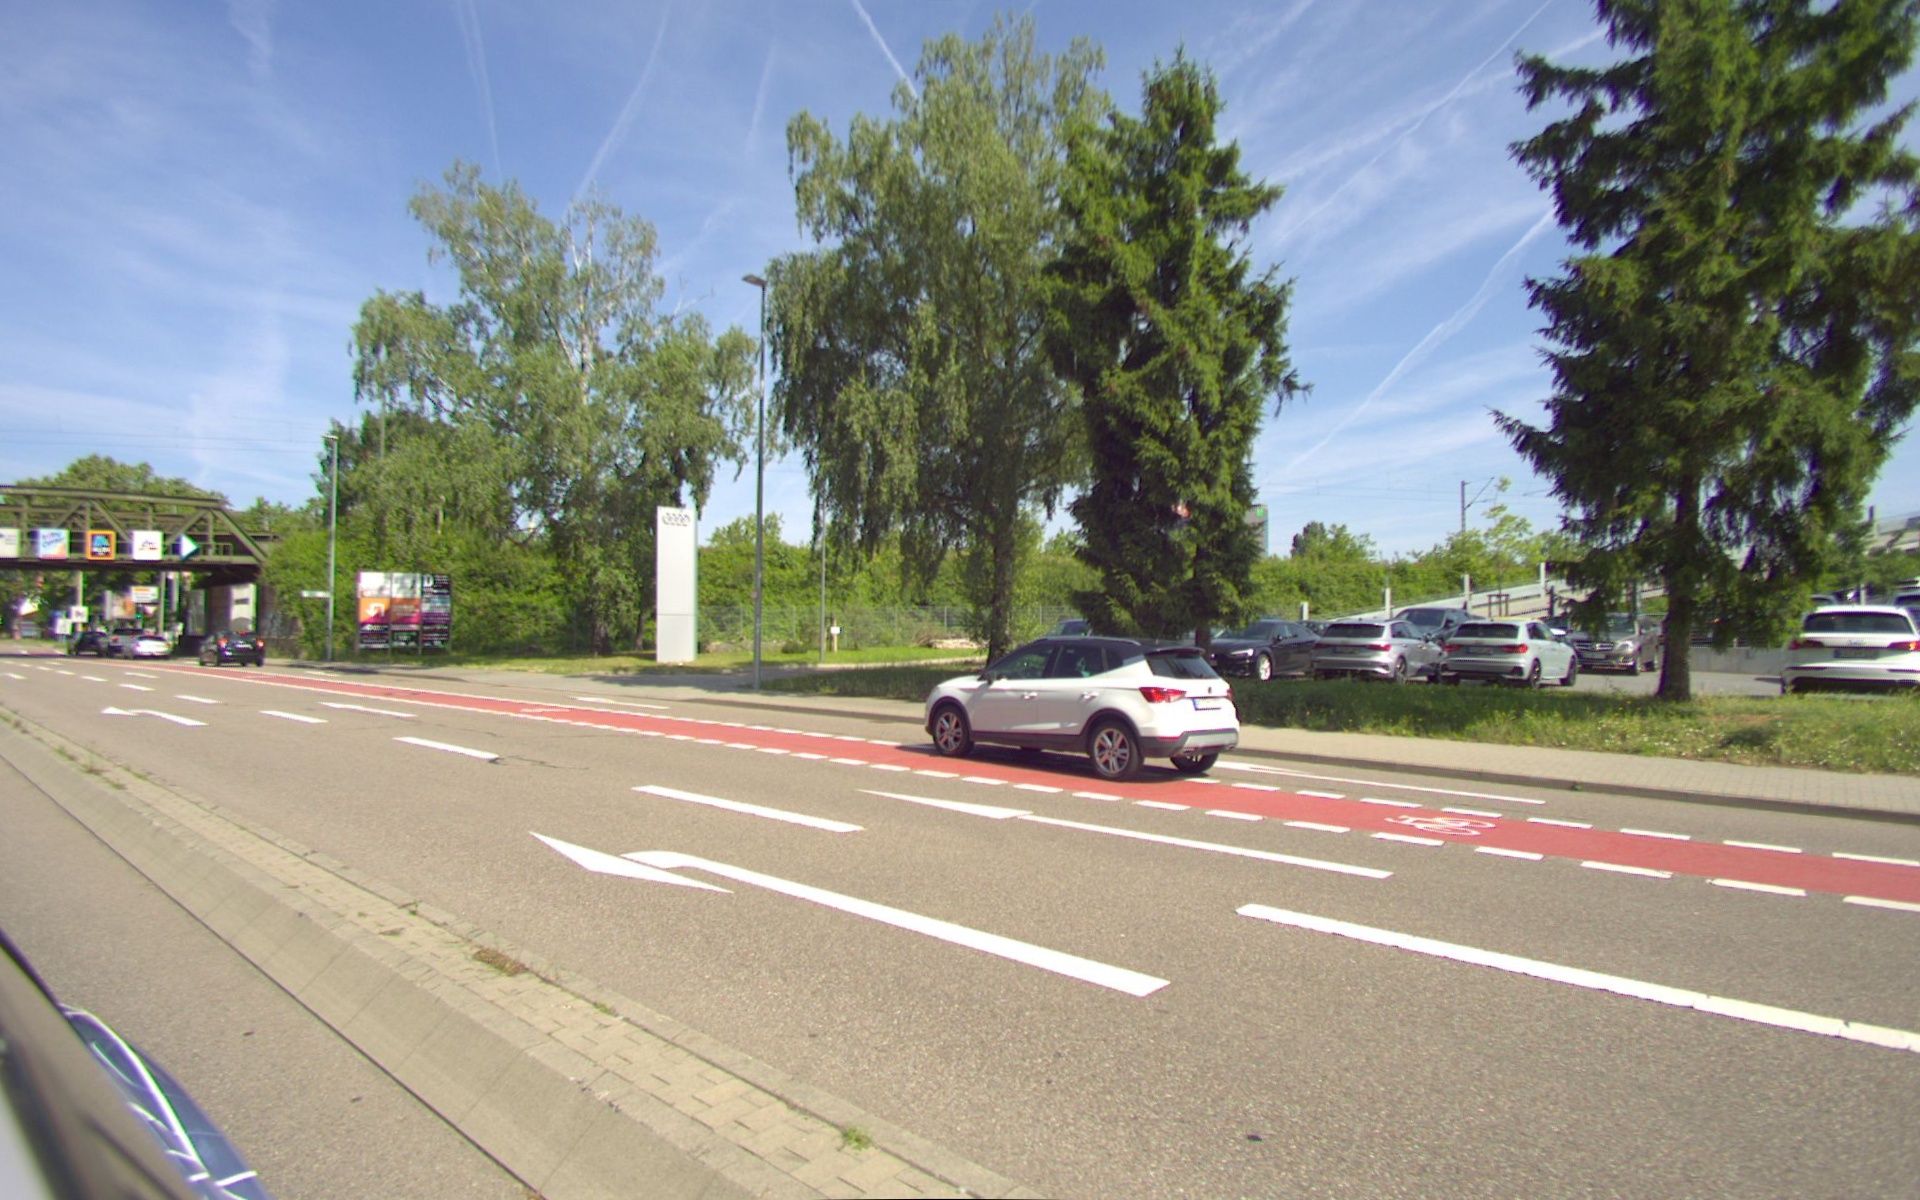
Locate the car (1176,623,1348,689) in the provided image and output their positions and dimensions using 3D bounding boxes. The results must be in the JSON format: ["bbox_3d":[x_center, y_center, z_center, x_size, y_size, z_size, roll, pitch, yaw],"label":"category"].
[{"bbox_3d":[7.054,1.217,23.320,1.999,1.278,4.801,-2,-1,41],"label":"car"}]

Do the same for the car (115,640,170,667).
[{"bbox_3d":[-44.582,2.904,55.175,4.316,1.398,1.618,-2,-4,42],"label":"car"}]

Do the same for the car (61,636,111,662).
[{"bbox_3d":[-57.099,3.174,66.102,4.385,1.608,1.853,-2,-3,41],"label":"car"}]

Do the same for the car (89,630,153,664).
[{"bbox_3d":[-49.528,2.742,59.684,5.448,1.875,1.973,-2,-5,41],"label":"car"}]

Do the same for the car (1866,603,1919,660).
[{"bbox_3d":[26.714,0.829,28.080,1.997,1.488,4.162,-2,-1,38],"label":"car"}]

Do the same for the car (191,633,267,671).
[{"bbox_3d":[-30.877,2.186,42.717,4.025,1.530,1.680,-2,-4,41],"label":"car"}]

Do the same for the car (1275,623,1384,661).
[{"bbox_3d":[16.094,1.784,44.397,1.966,1.536,4.775,0,-1,-17],"label":"car"}]

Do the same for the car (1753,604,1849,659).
[{"bbox_3d":[24.644,0.877,29.788,1.997,1.488,4.162,-2,-1,38],"label":"car"}]

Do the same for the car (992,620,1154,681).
[{"bbox_3d":[3.087,1.282,26.914,1.999,1.400,4.638,-2,-1,41],"label":"car"}]

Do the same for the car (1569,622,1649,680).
[{"bbox_3d":[21.469,1.630,33.405,1.996,1.746,3.952,-2,-1,36],"label":"car"}]

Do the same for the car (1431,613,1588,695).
[{"bbox_3d":[11.531,1.050,21.134,1.848,1.497,3.942,-2,-1,44],"label":"car"}]

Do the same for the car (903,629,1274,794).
[{"bbox_3d":[1.417,1.192,12.193,1.970,1.630,4.106,4,-4,-45],"label":"car"}]

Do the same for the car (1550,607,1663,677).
[{"bbox_3d":[17.807,1.101,27.801,1.999,1.770,3.945,-2,-1,41],"label":"car"}]

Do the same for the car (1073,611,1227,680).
[{"bbox_3d":[4.860,1.091,25.557,1.999,1.558,4.170,-2,-1,41],"label":"car"}]

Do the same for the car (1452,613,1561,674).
[{"bbox_3d":[16.358,1.249,30.194,1.999,1.634,3.945,-2,-1,41],"label":"car"}]

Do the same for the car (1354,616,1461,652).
[{"bbox_3d":[20.405,1.532,46.391,1.783,1.558,4.775,0,-1,-17],"label":"car"}]

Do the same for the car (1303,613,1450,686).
[{"bbox_3d":[8.914,0.997,21.521,1.815,1.381,3.642,-2,-1,41],"label":"car"}]

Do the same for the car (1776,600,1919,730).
[{"bbox_3d":[14.922,0.953,16.696,2.000,1.889,4.415,-2,-1,42],"label":"car"}]
